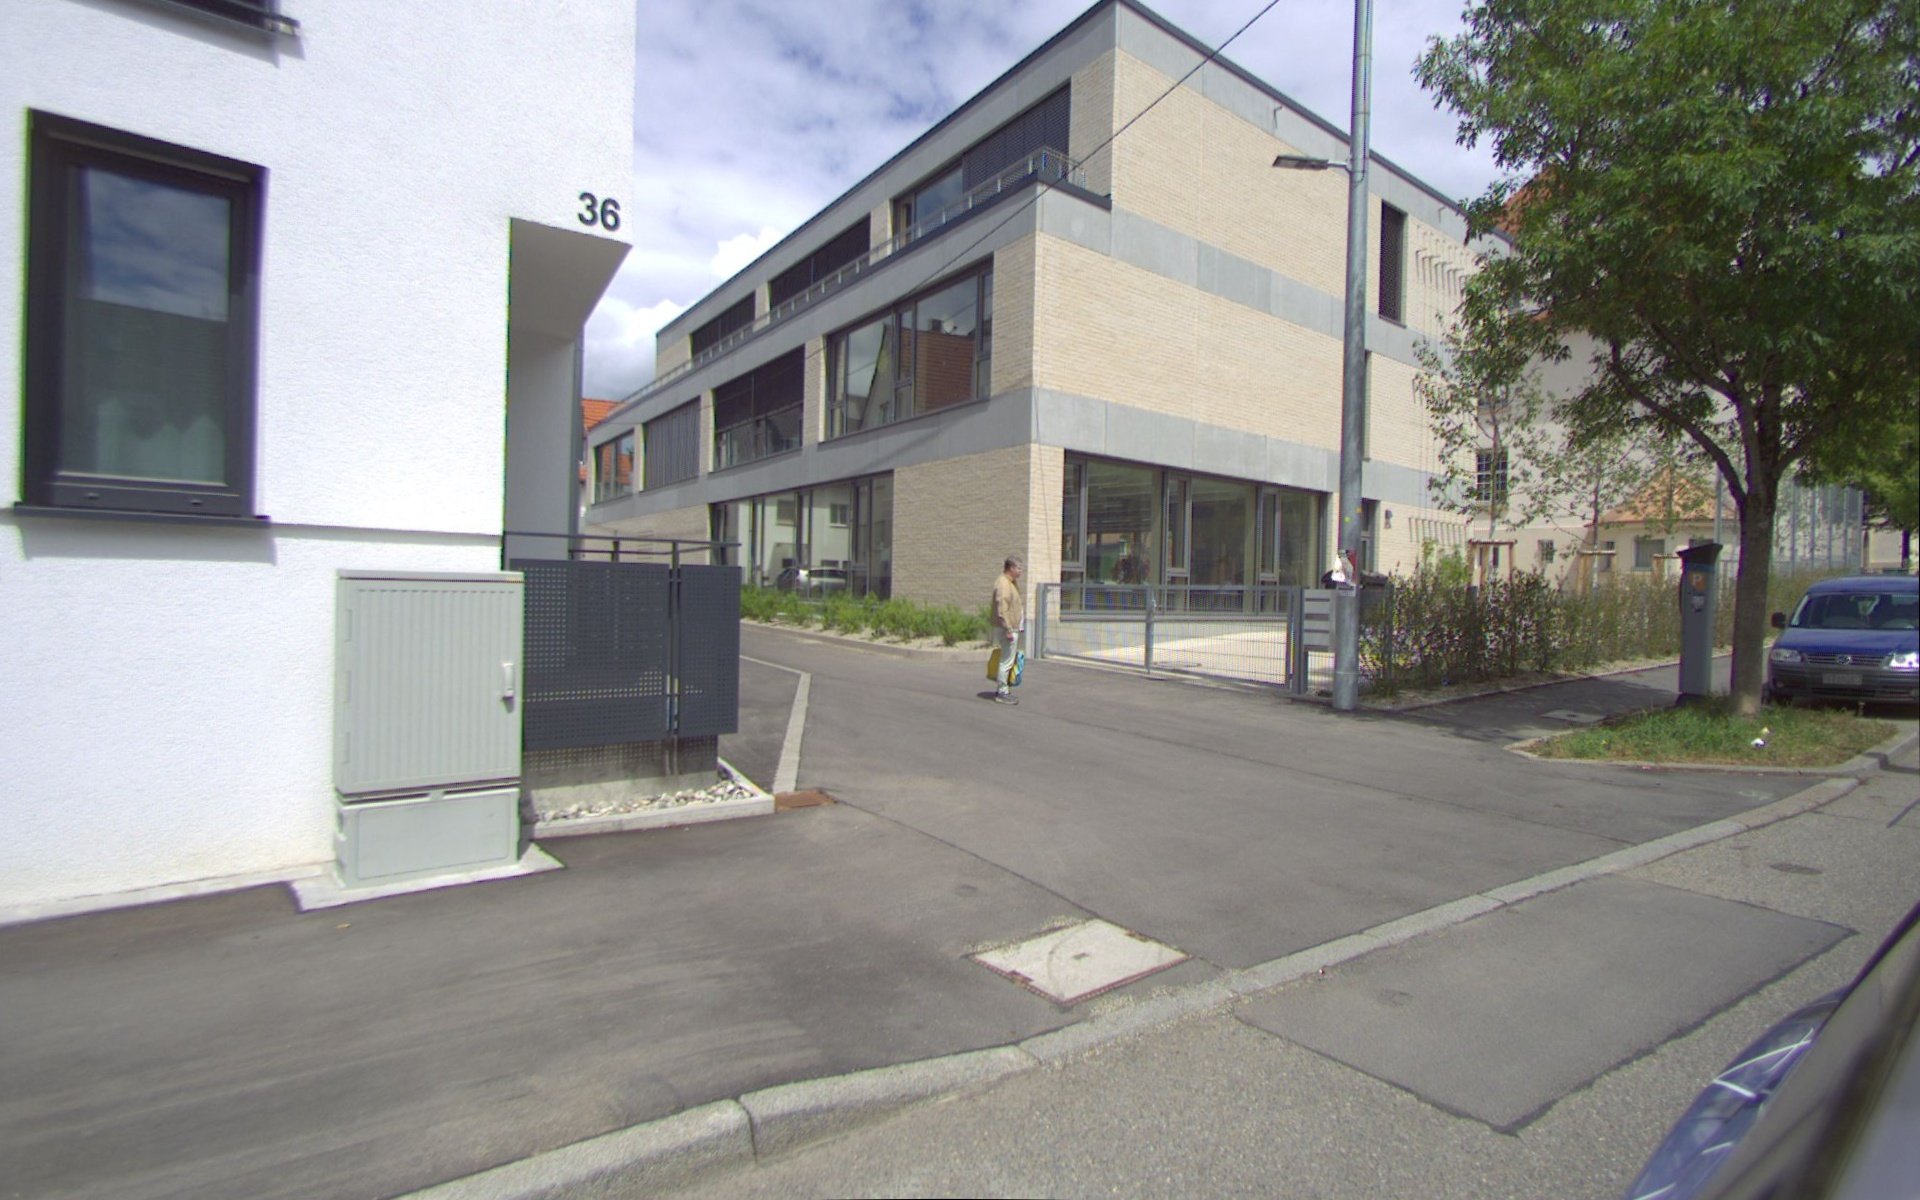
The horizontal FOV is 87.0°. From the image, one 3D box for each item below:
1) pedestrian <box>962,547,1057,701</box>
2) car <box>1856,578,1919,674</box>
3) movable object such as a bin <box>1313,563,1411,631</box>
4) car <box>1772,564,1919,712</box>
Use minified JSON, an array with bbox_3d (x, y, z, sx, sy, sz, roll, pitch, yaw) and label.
[{"bbox_3d":[0.577,0.258,11.912,0.815,1.725,0.774,0,0,-42],"label":"pedestrian"},{"bbox_3d":[16.870,0.433,17.406,3.605,1.538,1.677,0,1,-40],"label":"car"},{"bbox_3d":[9.028,-0.077,22.730,1.774,1.465,1.351,0,1,-39],"label":"movable object such as a bin"},{"bbox_3d":[12.661,0.387,13.827,4.087,1.764,1.698,-2,2,-40],"label":"car"}]
